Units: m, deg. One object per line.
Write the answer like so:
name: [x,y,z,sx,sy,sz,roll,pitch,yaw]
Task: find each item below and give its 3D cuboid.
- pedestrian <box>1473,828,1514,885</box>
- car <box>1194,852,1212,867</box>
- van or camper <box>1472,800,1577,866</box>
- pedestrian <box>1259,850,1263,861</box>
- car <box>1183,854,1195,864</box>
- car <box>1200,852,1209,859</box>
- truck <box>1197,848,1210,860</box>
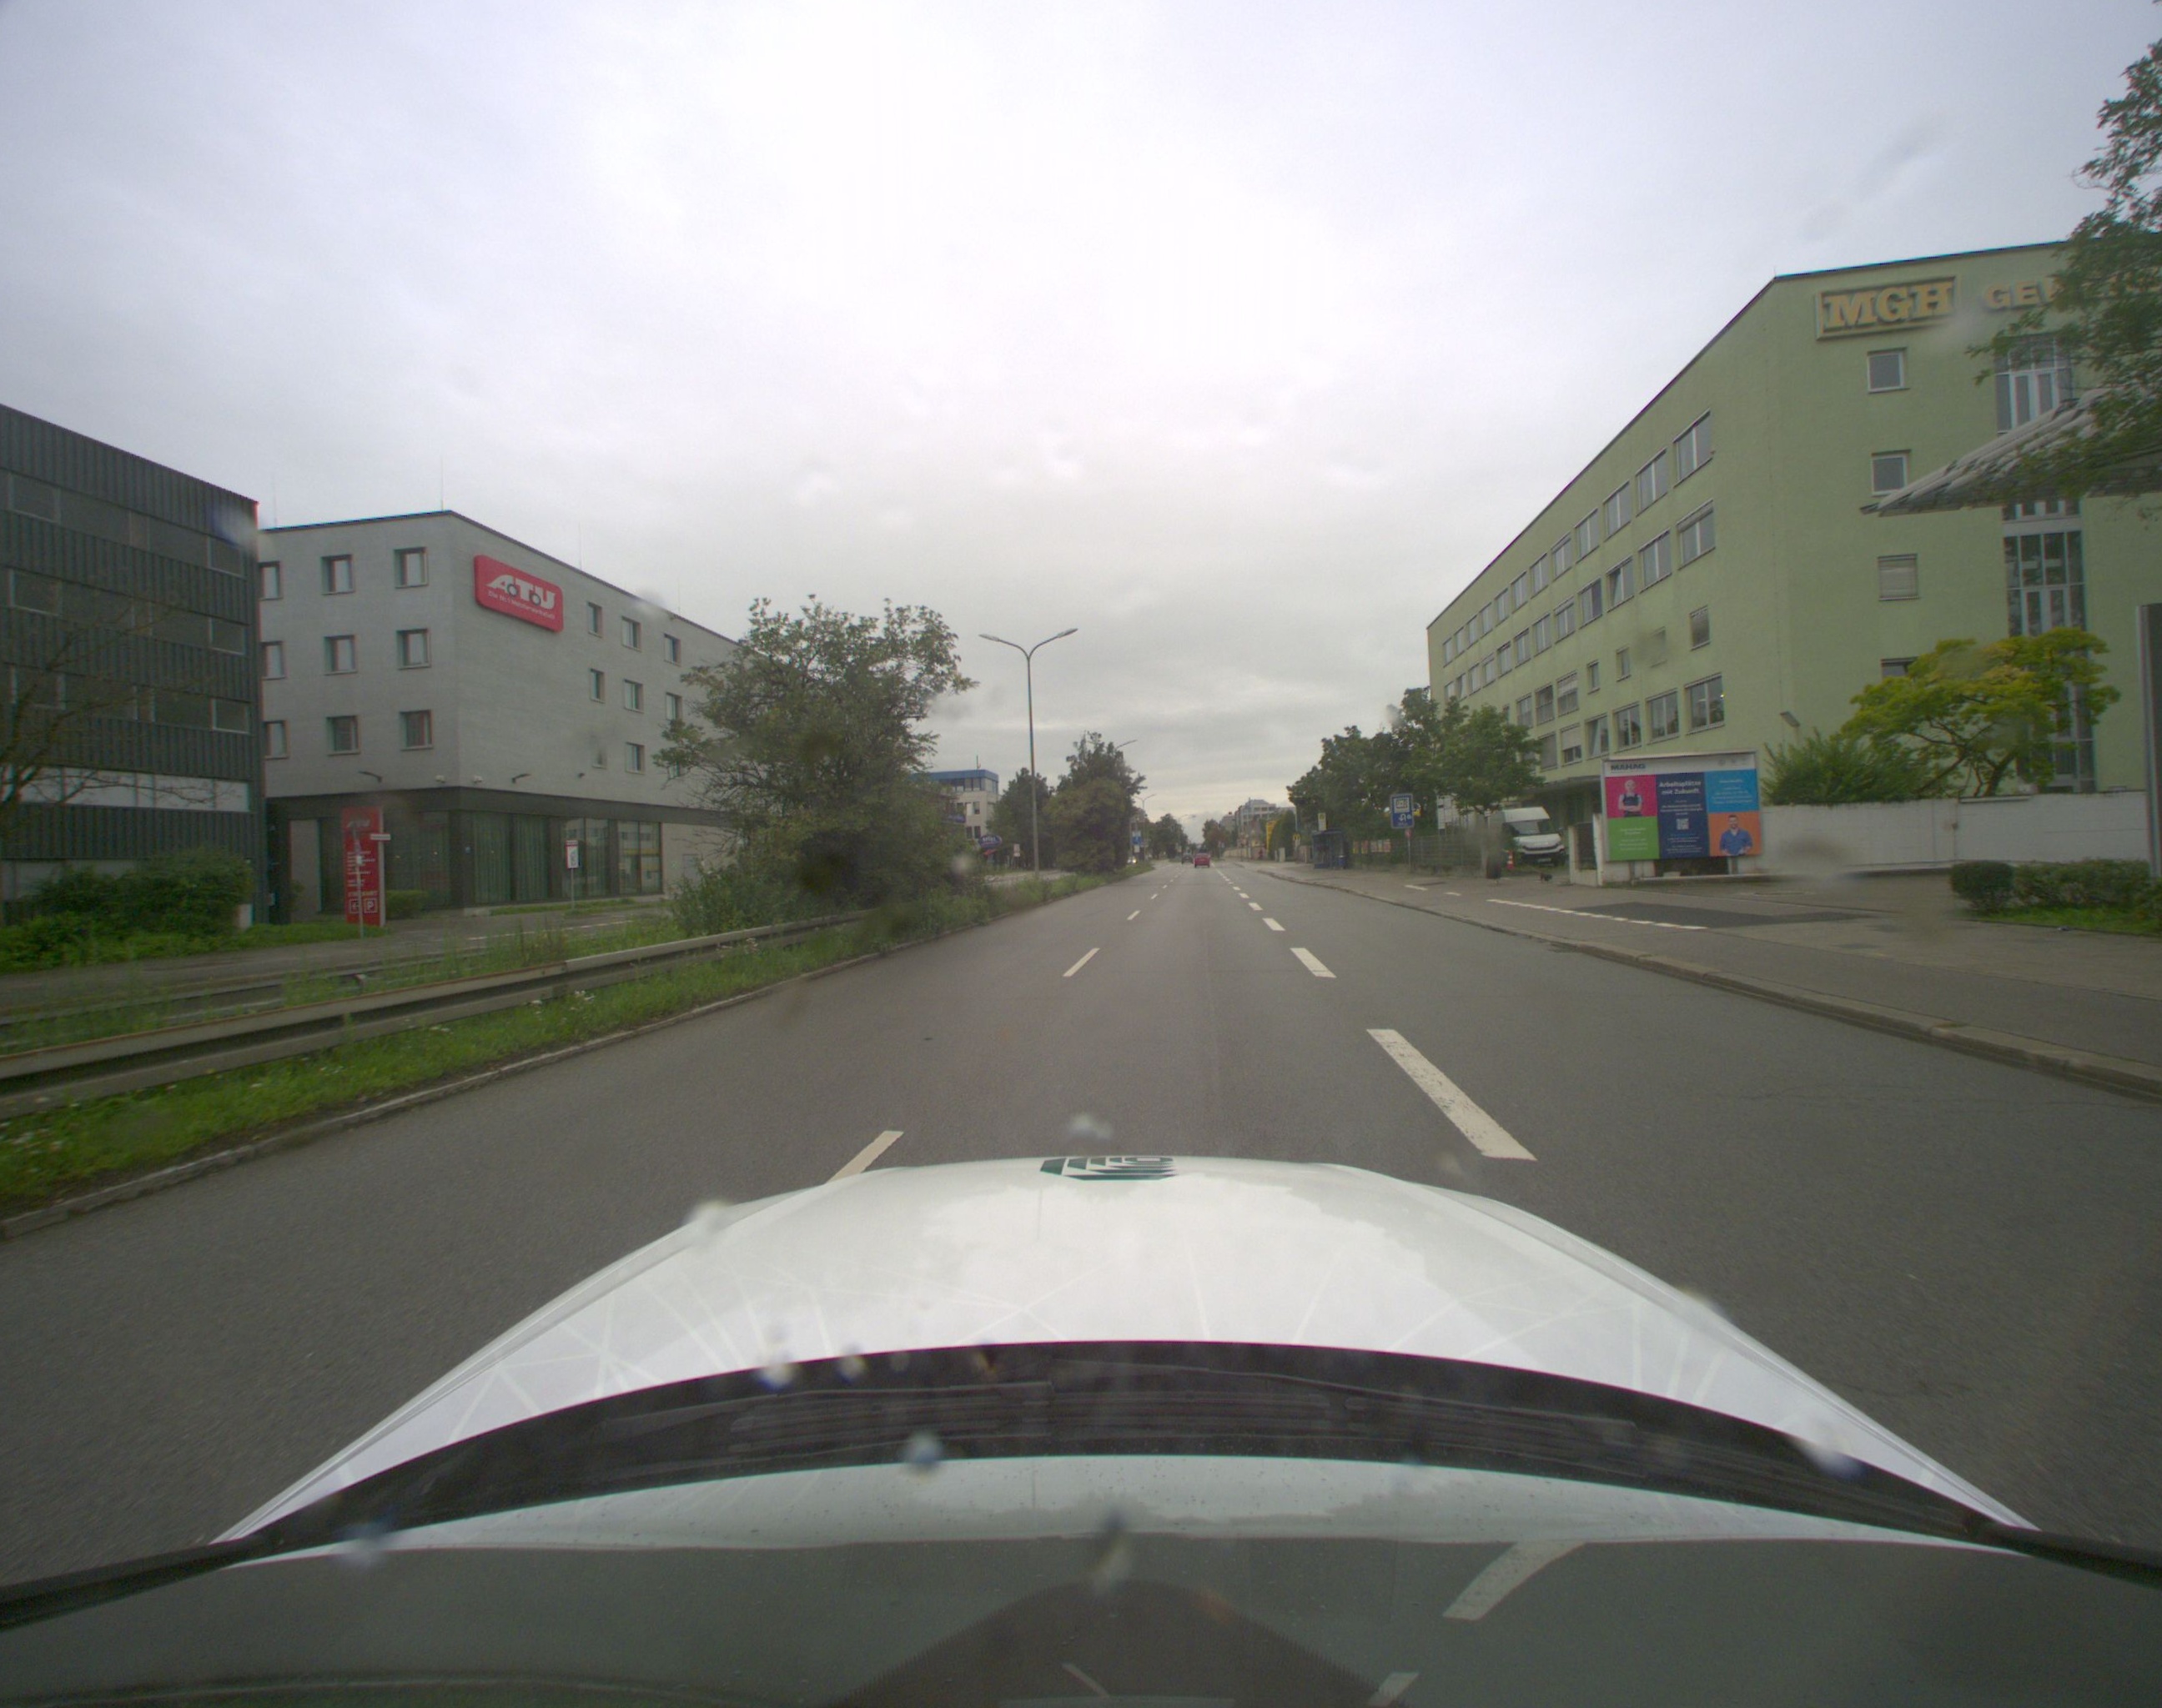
pedestrian: [13.204,0.089,26.090,0.754,1.728,0.896,-6,-1,5]
car: [14.203,0.623,95.044,1.852,1.618,4.007,-2,-1,7]
van or camper: [19.199,-0.835,35.706,2.109,2.497,7.416,-2,0,14]
pedestrian: [25.813,0.224,116.710,0.480,1.636,0.592,-2,-1,9]
car: [17.366,0.823,131.213,1.794,1.432,4.007,-3,0,7]
car: [27.574,0.284,181.730,1.794,1.433,4.007,-2,-1,7]
truck: [33.587,-0.019,223.314,2.953,3.285,7.930,-2,0,7]
